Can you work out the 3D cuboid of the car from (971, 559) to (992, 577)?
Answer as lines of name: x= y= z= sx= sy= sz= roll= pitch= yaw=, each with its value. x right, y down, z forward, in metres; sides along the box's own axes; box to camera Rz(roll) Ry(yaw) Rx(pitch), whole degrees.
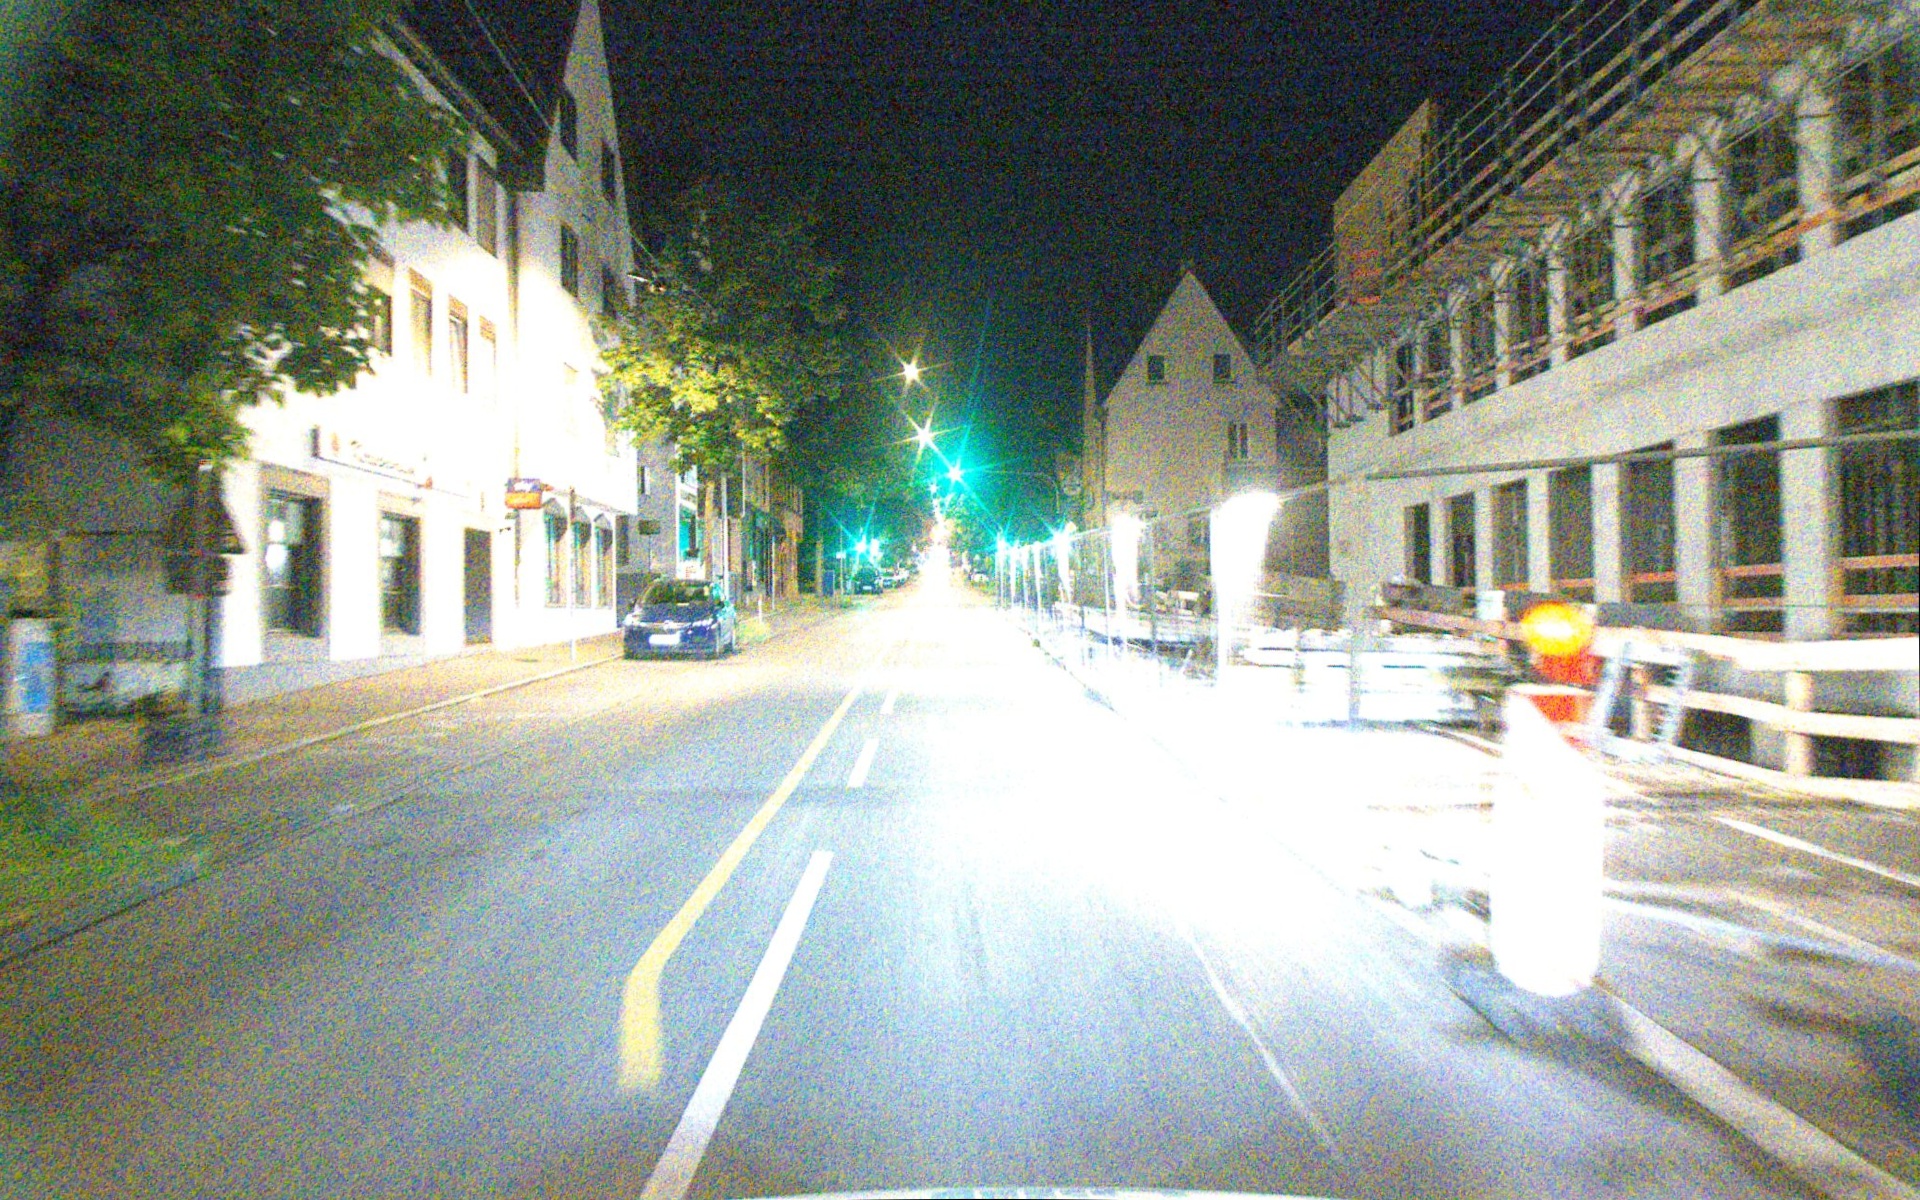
car: x=1.962 y=-2.986 z=154.320 sx=1.835 sy=1.571 sz=4.204 roll=-1 pitch=1 yaw=-1

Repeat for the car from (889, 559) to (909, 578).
car: x=-6.114 y=-3.156 z=165.503 sx=1.835 sy=1.846 sz=4.204 roll=-1 pitch=1 yaw=-1

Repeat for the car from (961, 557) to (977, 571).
car: x=1.046 y=-4.245 z=193.250 sx=1.835 sy=1.571 sz=4.204 roll=-1 pitch=1 yaw=-1

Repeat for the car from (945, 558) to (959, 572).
car: x=-1.055 y=-4.806 z=228.221 sx=1.835 sy=1.846 sz=4.205 roll=-1 pitch=1 yaw=0

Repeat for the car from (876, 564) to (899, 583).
car: x=-6.186 y=-2.305 z=141.143 sx=1.835 sy=1.571 sz=4.204 roll=-1 pitch=1 yaw=-1

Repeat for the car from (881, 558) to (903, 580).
car: x=-6.057 y=-2.781 z=147.204 sx=1.835 sy=1.846 sz=4.205 roll=-1 pitch=1 yaw=-1

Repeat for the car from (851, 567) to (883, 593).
car: x=-5.814 y=-1.286 z=103.772 sx=1.835 sy=1.571 sz=4.204 roll=-1 pitch=1 yaw=-1

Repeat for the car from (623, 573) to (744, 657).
car: x=-5.236 y=0.233 z=31.773 sx=1.637 sy=1.468 sz=4.204 roll=-1 pitch=1 yaw=-1
